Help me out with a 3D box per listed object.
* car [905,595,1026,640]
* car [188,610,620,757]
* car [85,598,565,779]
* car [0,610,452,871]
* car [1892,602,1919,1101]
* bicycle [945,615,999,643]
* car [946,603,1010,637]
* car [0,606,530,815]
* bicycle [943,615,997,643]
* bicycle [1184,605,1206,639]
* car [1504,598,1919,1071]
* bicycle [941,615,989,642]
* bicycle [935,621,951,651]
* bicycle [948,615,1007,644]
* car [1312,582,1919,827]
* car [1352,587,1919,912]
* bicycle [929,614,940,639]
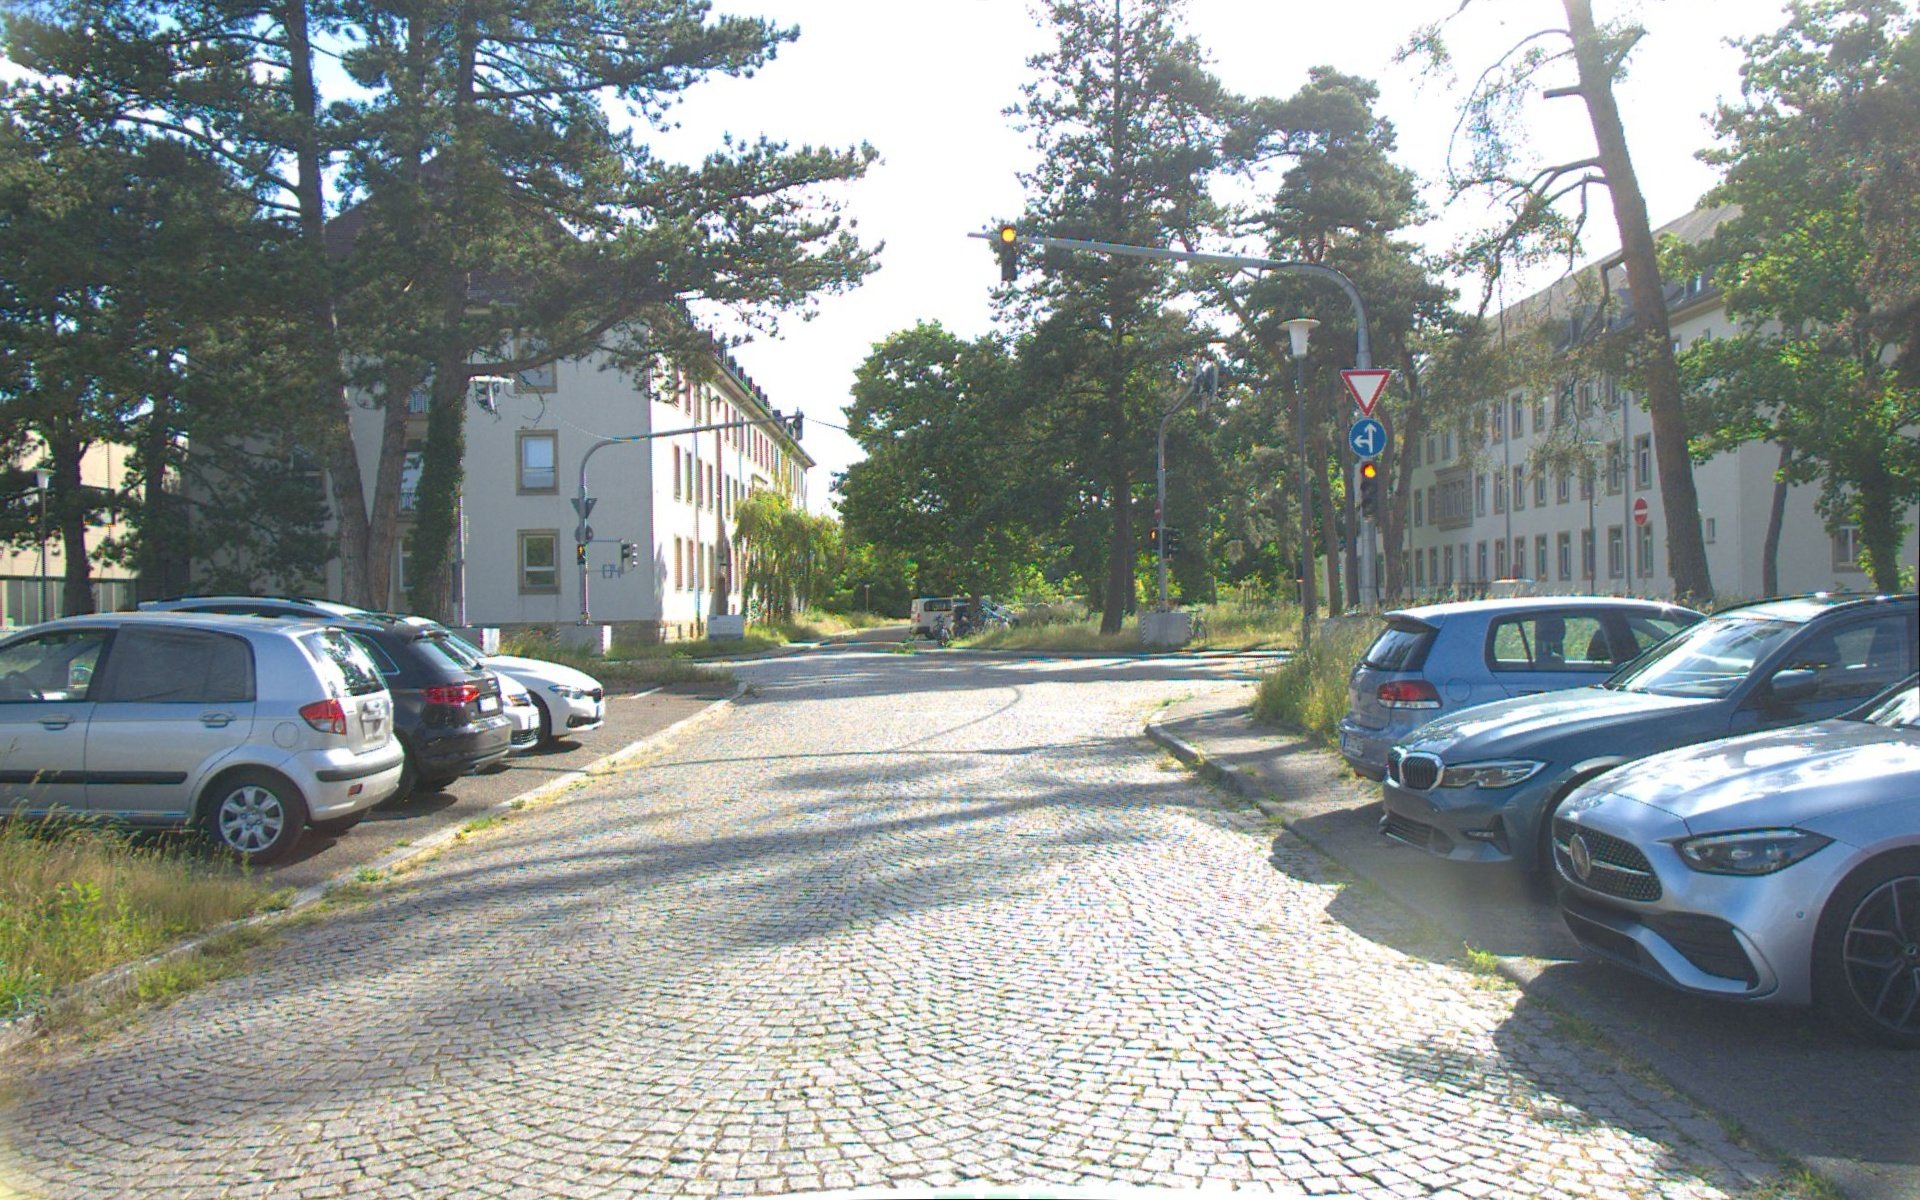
[{"bbox_3d":[0.253,0.829,78.671,5.437,2.049,1.989,1,-1,-19],"label":"car"},{"bbox_3d":[-6.132,0.910,18.648,4.247,1.494,1.829,1,0,-4],"label":"car"},{"bbox_3d":[-6.098,0.825,16.291,3.999,1.621,1.884,1,0,-4],"label":"car"},{"bbox_3d":[-5.374,0.850,10.709,3.672,1.513,1.645,1,0,-4],"label":"car"},{"bbox_3d":[4.824,0.651,4.121,4.043,1.474,1.636,-3,0,0],"label":"car"},{"bbox_3d":[0.462,1.091,62.311,1.967,1.028,0.631,1,-1,-8],"label":"bicycle"},{"bbox_3d":[0.812,0.903,75.078,2.727,1.492,1.669,1,-1,-5],"label":"car"},{"bbox_3d":[-5.643,0.840,13.336,3.908,1.506,1.802,1,0,-4],"label":"car"},{"bbox_3d":[0.379,1.101,63.192,1.990,1.028,0.626,1,-1,-8],"label":"bicycle"},{"bbox_3d":[6.898,0.649,48.584,0.294,0.977,1.584,1,-1,-4],"label":"bicycle"},{"bbox_3d":[4.553,0.701,6.287,4.341,1.440,1.781,-3,0,0],"label":"car"},{"bbox_3d":[0.196,1.109,64.063,1.803,1.028,0.635,1,-1,-8],"label":"bicycle"},{"bbox_3d":[-0.595,1.242,57.008,0.458,1.028,1.584,1,-1,-4],"label":"bicycle"},{"bbox_3d":[0.643,1.073,60.600,2.070,1.028,0.620,1,-1,-8],"label":"bicycle"},{"bbox_3d":[4.611,0.685,11.784,3.803,1.440,1.636,-3,0,0],"label":"car"},{"bbox_3d":[4.587,0.708,9.004,4.466,1.440,1.636,-3,0,0],"label":"car"},{"bbox_3d":[-1.071,1.129,70.232,0.409,1.028,1.483,1,-1,0],"label":"bicycle"}]
